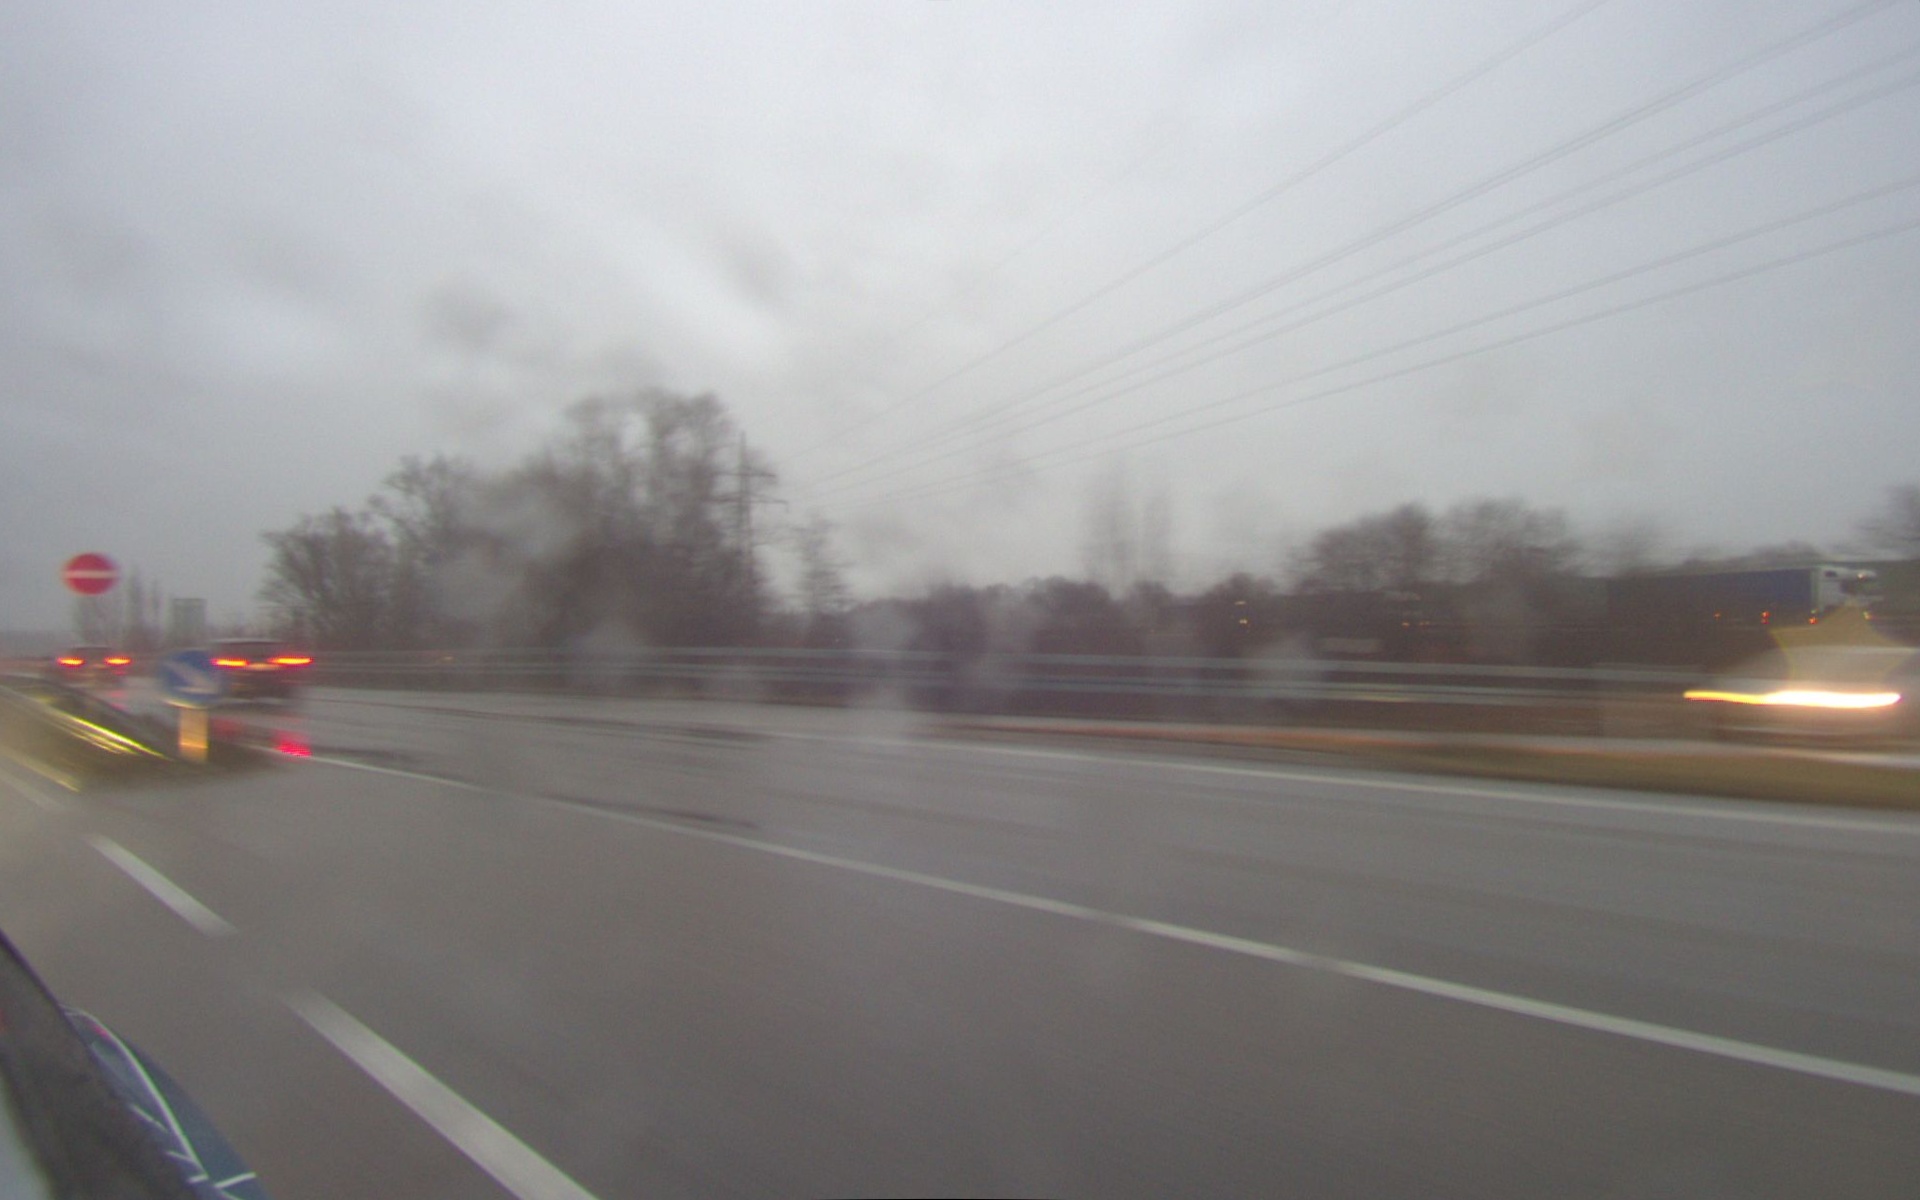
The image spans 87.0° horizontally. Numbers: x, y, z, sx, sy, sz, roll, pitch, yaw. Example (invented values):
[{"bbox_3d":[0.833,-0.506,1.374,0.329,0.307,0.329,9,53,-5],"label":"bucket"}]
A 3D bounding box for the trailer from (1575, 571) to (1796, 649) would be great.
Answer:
[{"bbox_3d":[52.020,0.629,73.384,3.255,5.141,13.274,-1,1,-23],"label":"trailer"}]

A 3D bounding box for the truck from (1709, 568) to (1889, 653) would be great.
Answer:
[{"bbox_3d":[54.894,0.642,66.576,3.229,5.168,8.547,-1,1,-23],"label":"truck"}]

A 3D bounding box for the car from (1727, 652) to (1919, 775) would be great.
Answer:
[{"bbox_3d":[14.251,1.668,15.702,3.792,1.645,1.925,0,-4,-21],"label":"car"}]

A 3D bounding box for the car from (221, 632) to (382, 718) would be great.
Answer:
[{"bbox_3d":[-13.017,1.420,19.912,3.998,1.513,1.629,-2,-4,42],"label":"car"}]

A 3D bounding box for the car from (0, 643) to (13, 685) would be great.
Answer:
[{"bbox_3d":[-50.363,3.313,51.693,4.989,2.029,1.976,-2,0,36],"label":"car"}]

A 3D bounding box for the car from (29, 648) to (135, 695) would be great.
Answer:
[{"bbox_3d":[-30.099,2.403,34.656,4.468,1.483,1.974,-2,-3,39],"label":"car"}]
